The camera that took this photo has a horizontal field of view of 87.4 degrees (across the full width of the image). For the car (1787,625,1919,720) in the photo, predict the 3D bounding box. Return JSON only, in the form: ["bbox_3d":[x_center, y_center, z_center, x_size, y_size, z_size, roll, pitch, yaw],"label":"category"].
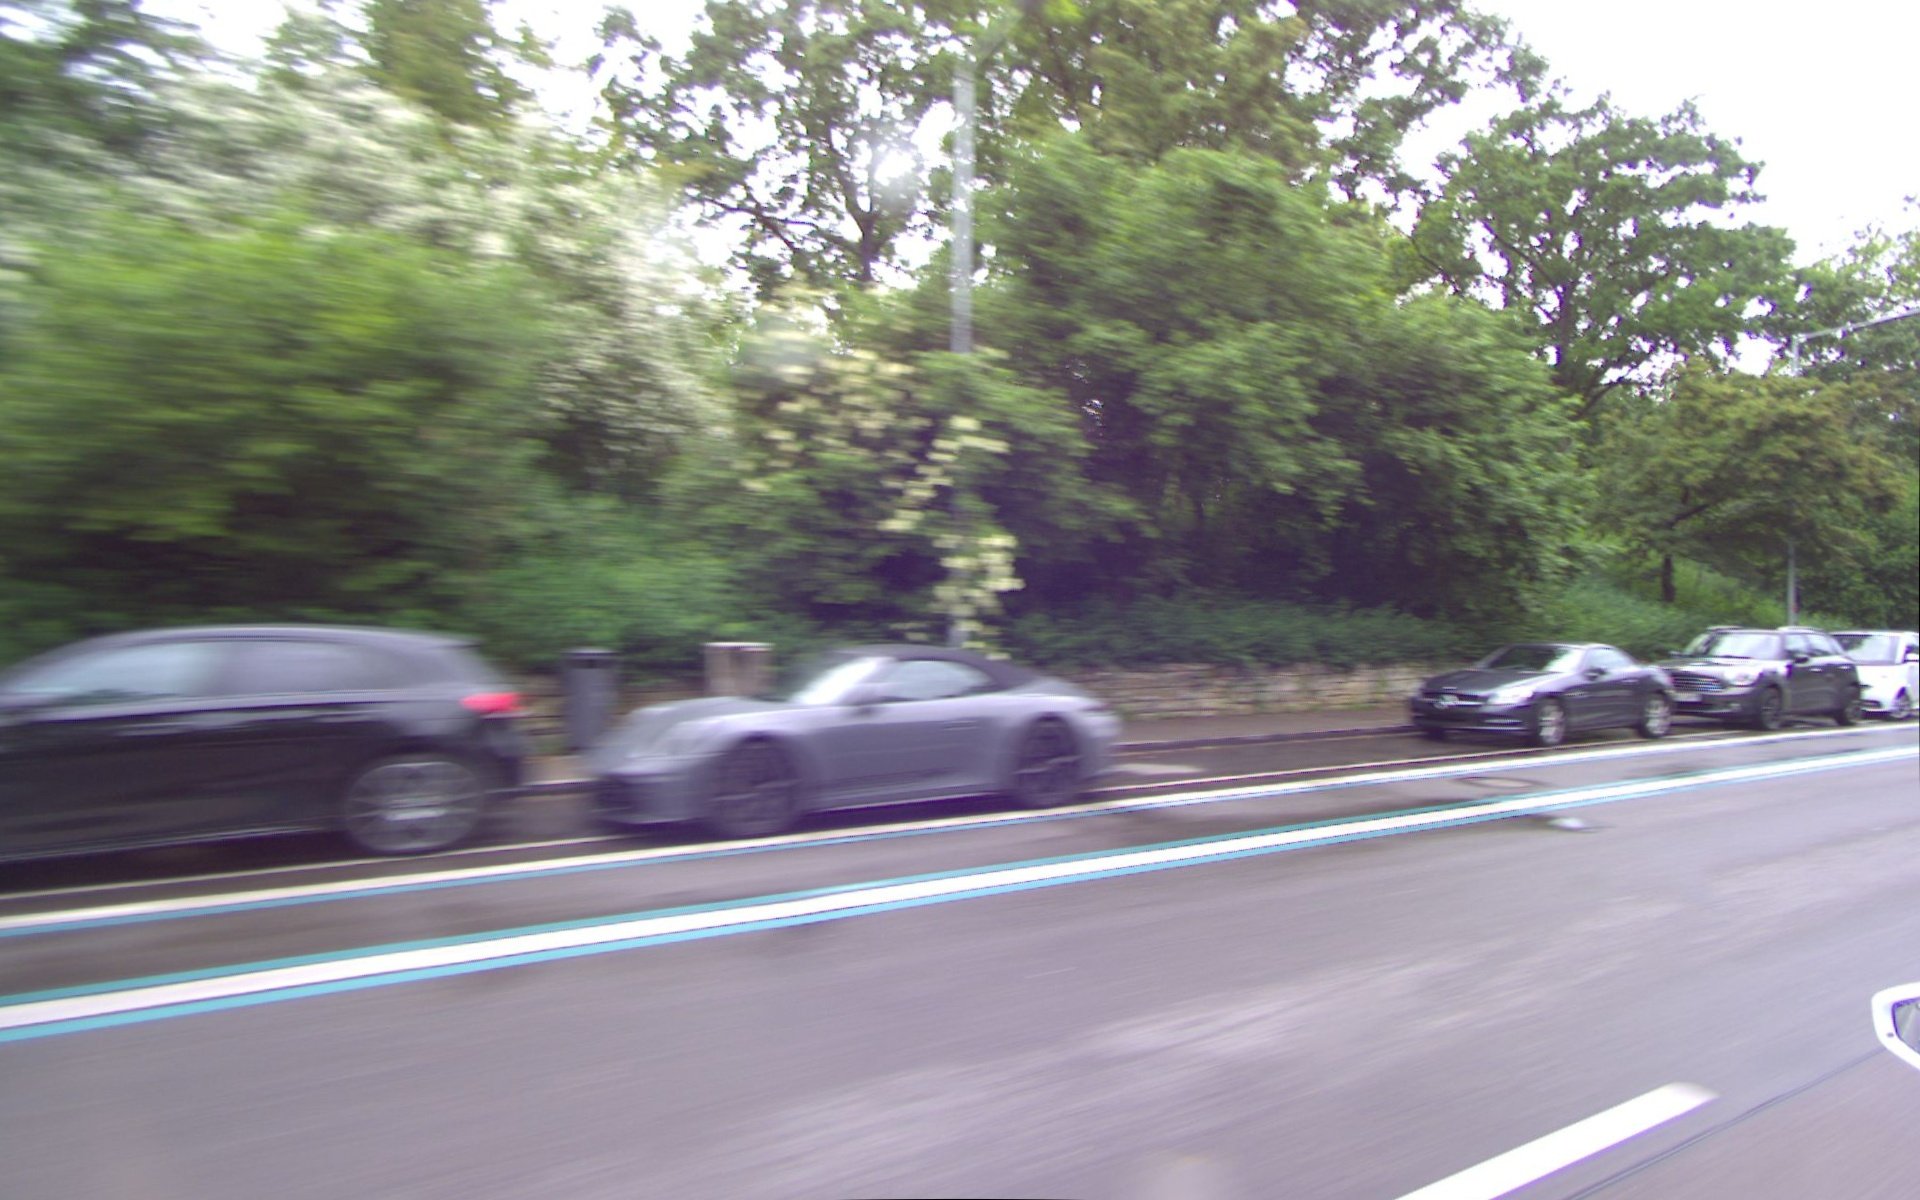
[{"bbox_3d":[16.653,1.274,18.377,2.950,1.592,1.453,1,-1,-31],"label":"car"}]

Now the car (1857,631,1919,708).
[{"bbox_3d":[21.036,1.458,21.277,4.416,1.508,1.799,1,-1,-31],"label":"car"}]

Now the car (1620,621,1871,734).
[{"bbox_3d":[12.694,1.178,16.198,4.086,1.605,1.690,1,-1,-28],"label":"car"}]

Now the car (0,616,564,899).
[{"bbox_3d":[-4.876,0.863,6.530,4.087,1.471,1.985,1,-1,-28],"label":"car"}]

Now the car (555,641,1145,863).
[{"bbox_3d":[-0.804,1.024,8.188,4.418,1.321,1.861,1,-1,-30],"label":"car"}]

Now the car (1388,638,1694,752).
[{"bbox_3d":[7.967,1.205,13.709,4.139,1.318,1.690,1,-1,-28],"label":"car"}]
